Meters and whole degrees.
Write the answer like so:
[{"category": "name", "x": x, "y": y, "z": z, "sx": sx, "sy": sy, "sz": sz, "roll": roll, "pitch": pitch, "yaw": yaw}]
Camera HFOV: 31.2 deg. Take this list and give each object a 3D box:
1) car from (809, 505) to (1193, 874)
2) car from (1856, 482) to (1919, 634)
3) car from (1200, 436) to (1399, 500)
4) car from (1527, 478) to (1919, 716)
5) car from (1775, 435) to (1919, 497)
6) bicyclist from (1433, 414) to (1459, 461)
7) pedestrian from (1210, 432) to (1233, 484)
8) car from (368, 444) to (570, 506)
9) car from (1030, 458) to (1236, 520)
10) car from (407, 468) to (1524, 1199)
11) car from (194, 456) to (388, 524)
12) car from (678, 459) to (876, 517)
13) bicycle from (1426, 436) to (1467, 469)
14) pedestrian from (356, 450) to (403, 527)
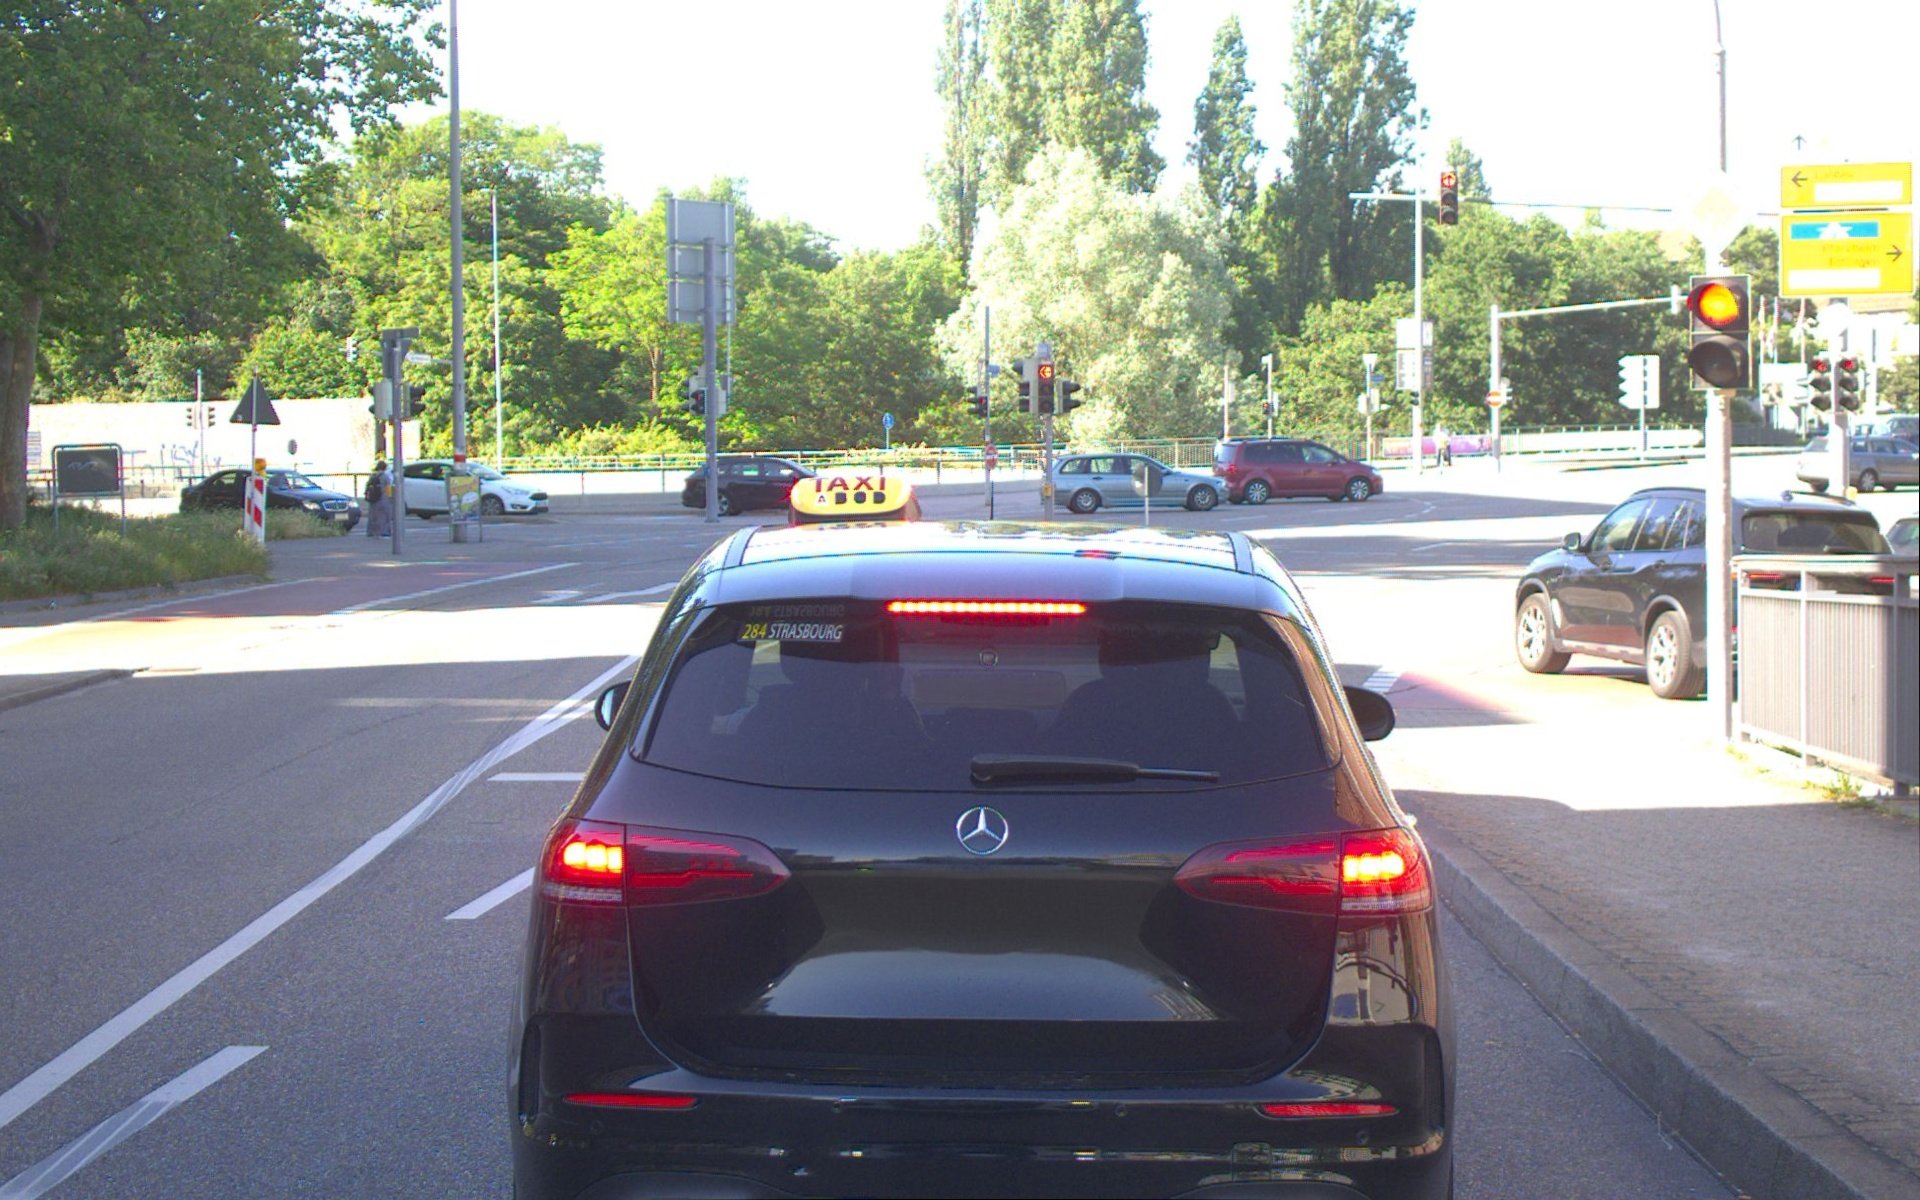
[{"category": "car", "x": 0.231, "y": 0.344, "z": 16.721, "sx": 1.640, "sy": 1.524, "sz": 3.474, "roll": -1, "pitch": 2, "yaw": 2}, {"category": "car", "x": 11.845, "y": -0.526, "z": 39.382, "sx": 1.725, "sy": 1.598, "sz": 4.290, "roll": 3, "pitch": 5, "yaw": 33}, {"category": "car", "x": 8.515, "y": -3.331, "z": 86.237, "sx": 4.536, "sy": 1.450, "sz": 2.001, "roll": -2, "pitch": 4, "yaw": -14}, {"category": "car", "x": 6.433, "y": -0.091, "z": 29.501, "sx": 1.721, "sy": 1.806, "sz": 4.299, "roll": 2, "pitch": 2, "yaw": -9}, {"category": "car", "x": 23.582, "y": -3.493, "z": 89.011, "sx": 4.807, "sy": 1.436, "sz": 2.000, "roll": -4, "pitch": 4, "yaw": -32}, {"category": "bicyclist", "x": 16.059, "y": -5.365, "z": 113.532, "sx": 0.526, "sy": 1.545, "sz": 0.805, "roll": 0, "pitch": 3, "yaw": 33}, {"category": "pedestrian", "x": 7.931, "y": -4.313, "z": 104.361, "sx": 0.451, "sy": 1.580, "sz": 0.500, "roll": 1, "pitch": 3, "yaw": 40}, {"category": "car", "x": -11.762, "y": -3.001, "z": 82.410, "sx": 4.304, "sy": 1.360, "sz": 1.998, "roll": 0, "pitch": 4, "yaw": 19}, {"category": "car", "x": 4.023, "y": -2.601, "z": 80.362, "sx": 4.578, "sy": 1.290, "sz": 2.001, "roll": -2, "pitch": 3, "yaw": -4}, {"category": "car", "x": -0.016, "y": 0.538, "z": 7.835, "sx": 1.878, "sy": 1.608, "sz": 4.000, "roll": 1, "pitch": 2, "yaw": -1}, {"category": "car", "x": -14.541, "y": -2.387, "z": 74.645, "sx": 4.196, "sy": 1.402, "sz": 1.744, "roll": 1, "pitch": 3, "yaw": 37}, {"category": "car", "x": -4.534, "y": -2.789, "z": 85.352, "sx": 4.581, "sy": 1.290, "sz": 1.886, "roll": -1, "pitch": 3, "yaw": 10}, {"category": "bicycle", "x": 16.061, "y": -4.872, "z": 113.562, "sx": 0.526, "sy": 1.046, "sz": 1.986, "roll": 0, "pitch": 3, "yaw": 33}, {"category": "pedestrian", "x": -11.470, "y": -2.205, "z": 67.984, "sx": 0.705, "sy": 1.520, "sz": 0.743, "roll": 1, "pitch": 2, "yaw": 10}]
